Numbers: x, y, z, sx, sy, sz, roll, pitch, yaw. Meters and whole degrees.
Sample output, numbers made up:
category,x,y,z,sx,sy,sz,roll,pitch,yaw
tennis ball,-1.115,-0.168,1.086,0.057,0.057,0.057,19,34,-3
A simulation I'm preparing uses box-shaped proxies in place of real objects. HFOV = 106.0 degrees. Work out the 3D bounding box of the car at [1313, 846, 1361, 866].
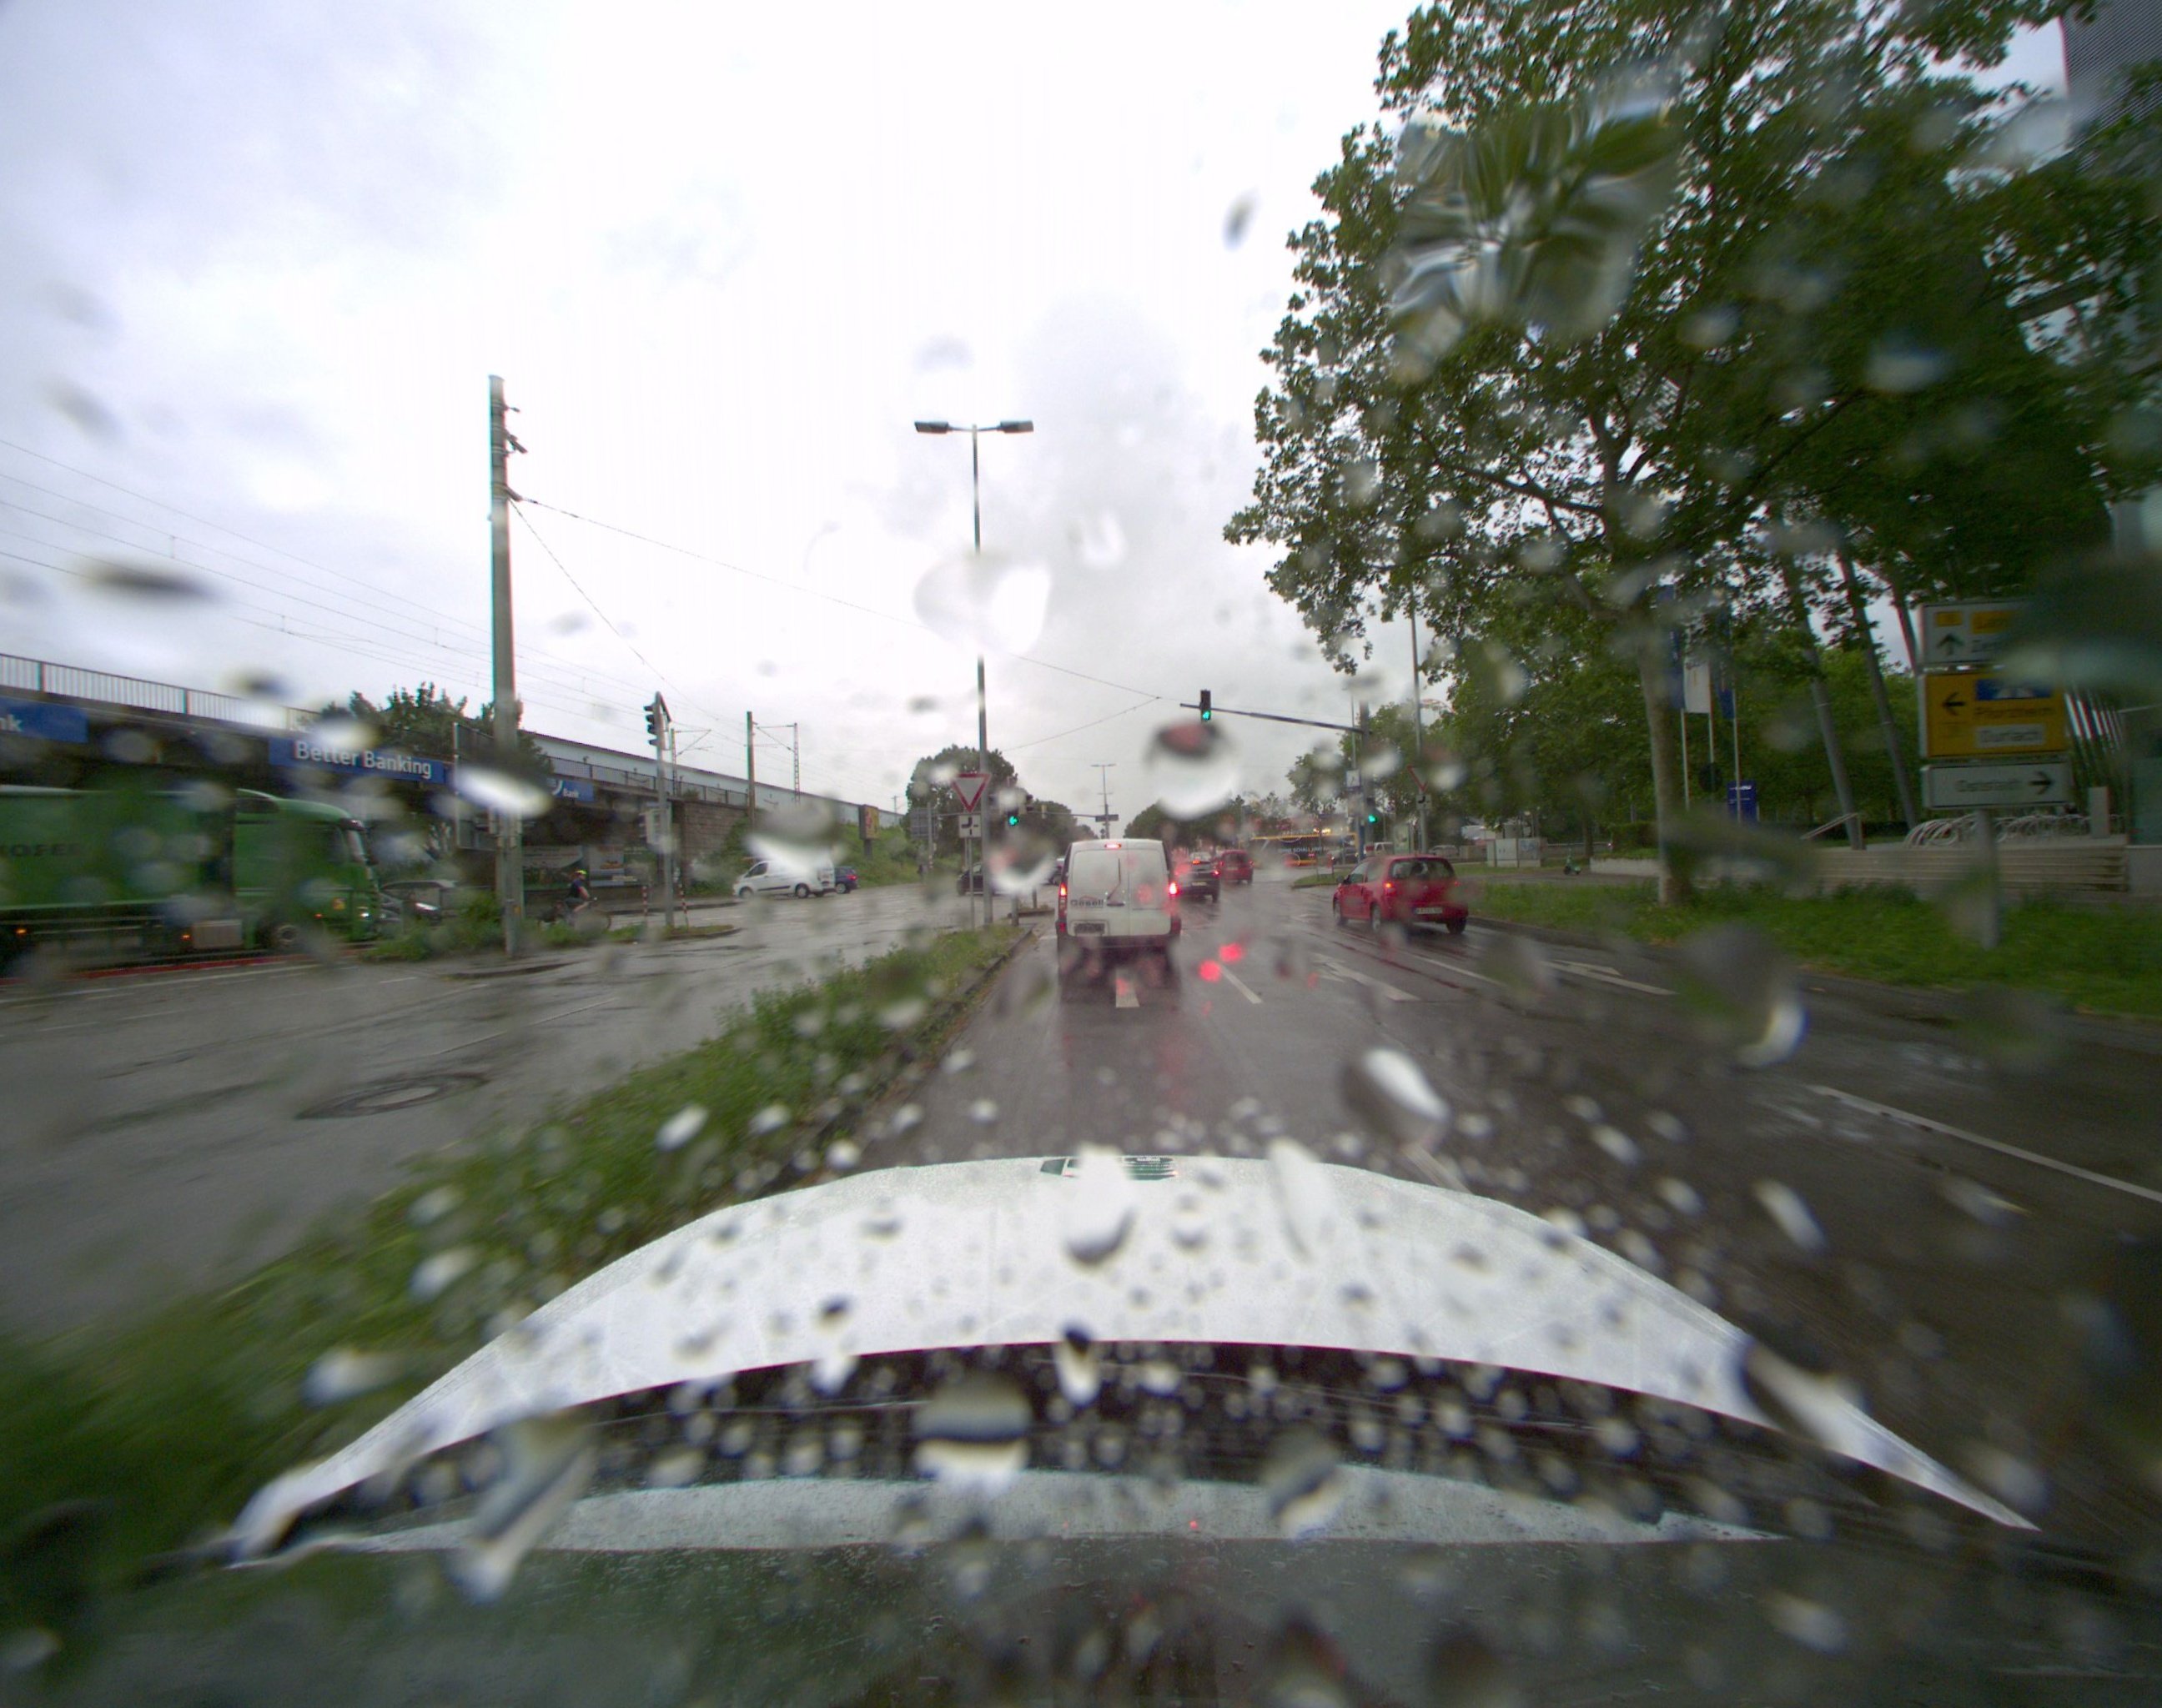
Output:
category,x,y,z,sx,sy,sz,roll,pitch,yaw
car,23.636,0.152,75.133,4.361,1.651,1.912,-2,0,-36

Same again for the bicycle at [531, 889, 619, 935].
category,x,y,z,sx,sy,sz,roll,pitch,yaw
bicycle,-13.198,1.491,21.282,1.919,1.094,0.688,-1,-1,-32

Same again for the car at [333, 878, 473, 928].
category,x,y,z,sx,sy,sz,roll,pitch,yaw
car,-29.529,2.100,35.677,4.459,1.846,1.979,-2,0,-34

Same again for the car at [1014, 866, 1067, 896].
category,x,y,z,sx,sy,sz,roll,pitch,yaw
car,-2.197,1.415,43.795,1.572,1.473,3.325,-2,0,-27

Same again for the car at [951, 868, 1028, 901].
category,x,y,z,sx,sy,sz,roll,pitch,yaw
car,-3.993,1.316,35.307,1.592,1.306,3.417,-2,0,-42

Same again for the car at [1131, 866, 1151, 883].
category,x,y,z,sx,sy,sz,roll,pitch,yaw
car,6.168,2.134,84.059,1.985,1.574,4.004,-2,0,4

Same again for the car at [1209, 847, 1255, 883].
category,x,y,z,sx,sy,sz,roll,pitch,yaw
car,7.224,0.531,39.266,1.626,1.656,3.485,0,0,1

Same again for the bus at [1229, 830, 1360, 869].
category,x,y,z,sx,sy,sz,roll,pitch,yaw
bus,21.174,-0.405,81.387,12.206,3.268,3.275,-3,0,1

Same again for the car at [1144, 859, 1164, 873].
category,x,y,z,sx,sy,sz,roll,pitch,yaw
car,8.144,1.322,90.908,1.986,1.560,4.001,-1,0,2

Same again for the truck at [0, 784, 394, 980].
category,x,y,z,sx,sy,sz,roll,pitch,yaw
truck,-22.017,0.580,17.908,10.238,3.949,2.659,-2,0,-35

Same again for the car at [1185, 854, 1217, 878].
category,x,y,z,sx,sy,sz,roll,pitch,yaw
car,8.532,0.860,58.183,1.835,1.618,4.003,-1,0,3

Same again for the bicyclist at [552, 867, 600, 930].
category,x,y,z,sx,sy,sz,roll,pitch,yaw
bicyclist,-13.189,1.145,21.284,1.051,1.593,0.797,0,-1,-32

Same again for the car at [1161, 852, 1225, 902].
category,x,y,z,sx,sy,sz,roll,pitch,yaw
car,3.904,0.778,28.966,1.836,1.618,4.001,-1,0,1

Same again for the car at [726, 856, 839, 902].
category,x,y,z,sx,sy,sz,roll,pitch,yaw
car,-14.778,1.241,40.496,4.778,1.955,2.004,-3,0,7

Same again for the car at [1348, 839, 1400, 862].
category,x,y,z,sx,sy,sz,roll,pitch,yaw
car,26.595,-0.324,73.894,4.767,1.849,2.055,-2,0,-35

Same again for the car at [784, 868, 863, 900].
category,x,y,z,sx,sy,sz,roll,pitch,yaw
car,-14.853,1.710,47.149,3.925,1.619,1.997,-3,0,-5

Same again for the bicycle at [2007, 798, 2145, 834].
category,x,y,z,sx,sy,sz,roll,pitch,yaw
bicycle,43.950,-1.639,36.068,3.648,1.332,1.199,-3,0,30

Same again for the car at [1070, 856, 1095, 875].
category,x,y,z,sx,sy,sz,roll,pitch,yaw
car,0.222,1.124,81.726,2.160,1.720,4.307,-2,0,3

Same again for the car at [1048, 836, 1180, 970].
category,x,y,z,sx,sy,sz,roll,pitch,yaw
car,0.491,0.658,12.858,1.749,1.777,4.001,0,0,1

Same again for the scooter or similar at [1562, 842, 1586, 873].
category,x,y,z,sx,sy,sz,roll,pitch,yaw
scooter or similar,18.594,0.125,30.714,1.181,1.138,0.337,-3,0,-39

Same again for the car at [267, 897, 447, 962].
category,x,y,z,sx,sy,sz,roll,pitch,yaw
car,-22.146,2.257,25.143,4.019,1.546,1.641,-2,0,-38

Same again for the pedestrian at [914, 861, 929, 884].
category,x,y,z,sx,sy,sz,roll,pitch,yaw
pedestrian,-12.168,1.392,62.022,1.001,1.719,0.818,-2,-1,-7

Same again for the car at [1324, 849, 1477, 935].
category,x,y,z,sx,sy,sz,roll,pitch,yaw
car,6.199,0.674,16.227,1.672,1.491,3.622,-1,0,1

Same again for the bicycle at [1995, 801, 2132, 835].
category,x,y,z,sx,sy,sz,roll,pitch,yaw
bicycle,45.367,-1.638,37.718,1.198,1.332,3.953,-2,0,-39
